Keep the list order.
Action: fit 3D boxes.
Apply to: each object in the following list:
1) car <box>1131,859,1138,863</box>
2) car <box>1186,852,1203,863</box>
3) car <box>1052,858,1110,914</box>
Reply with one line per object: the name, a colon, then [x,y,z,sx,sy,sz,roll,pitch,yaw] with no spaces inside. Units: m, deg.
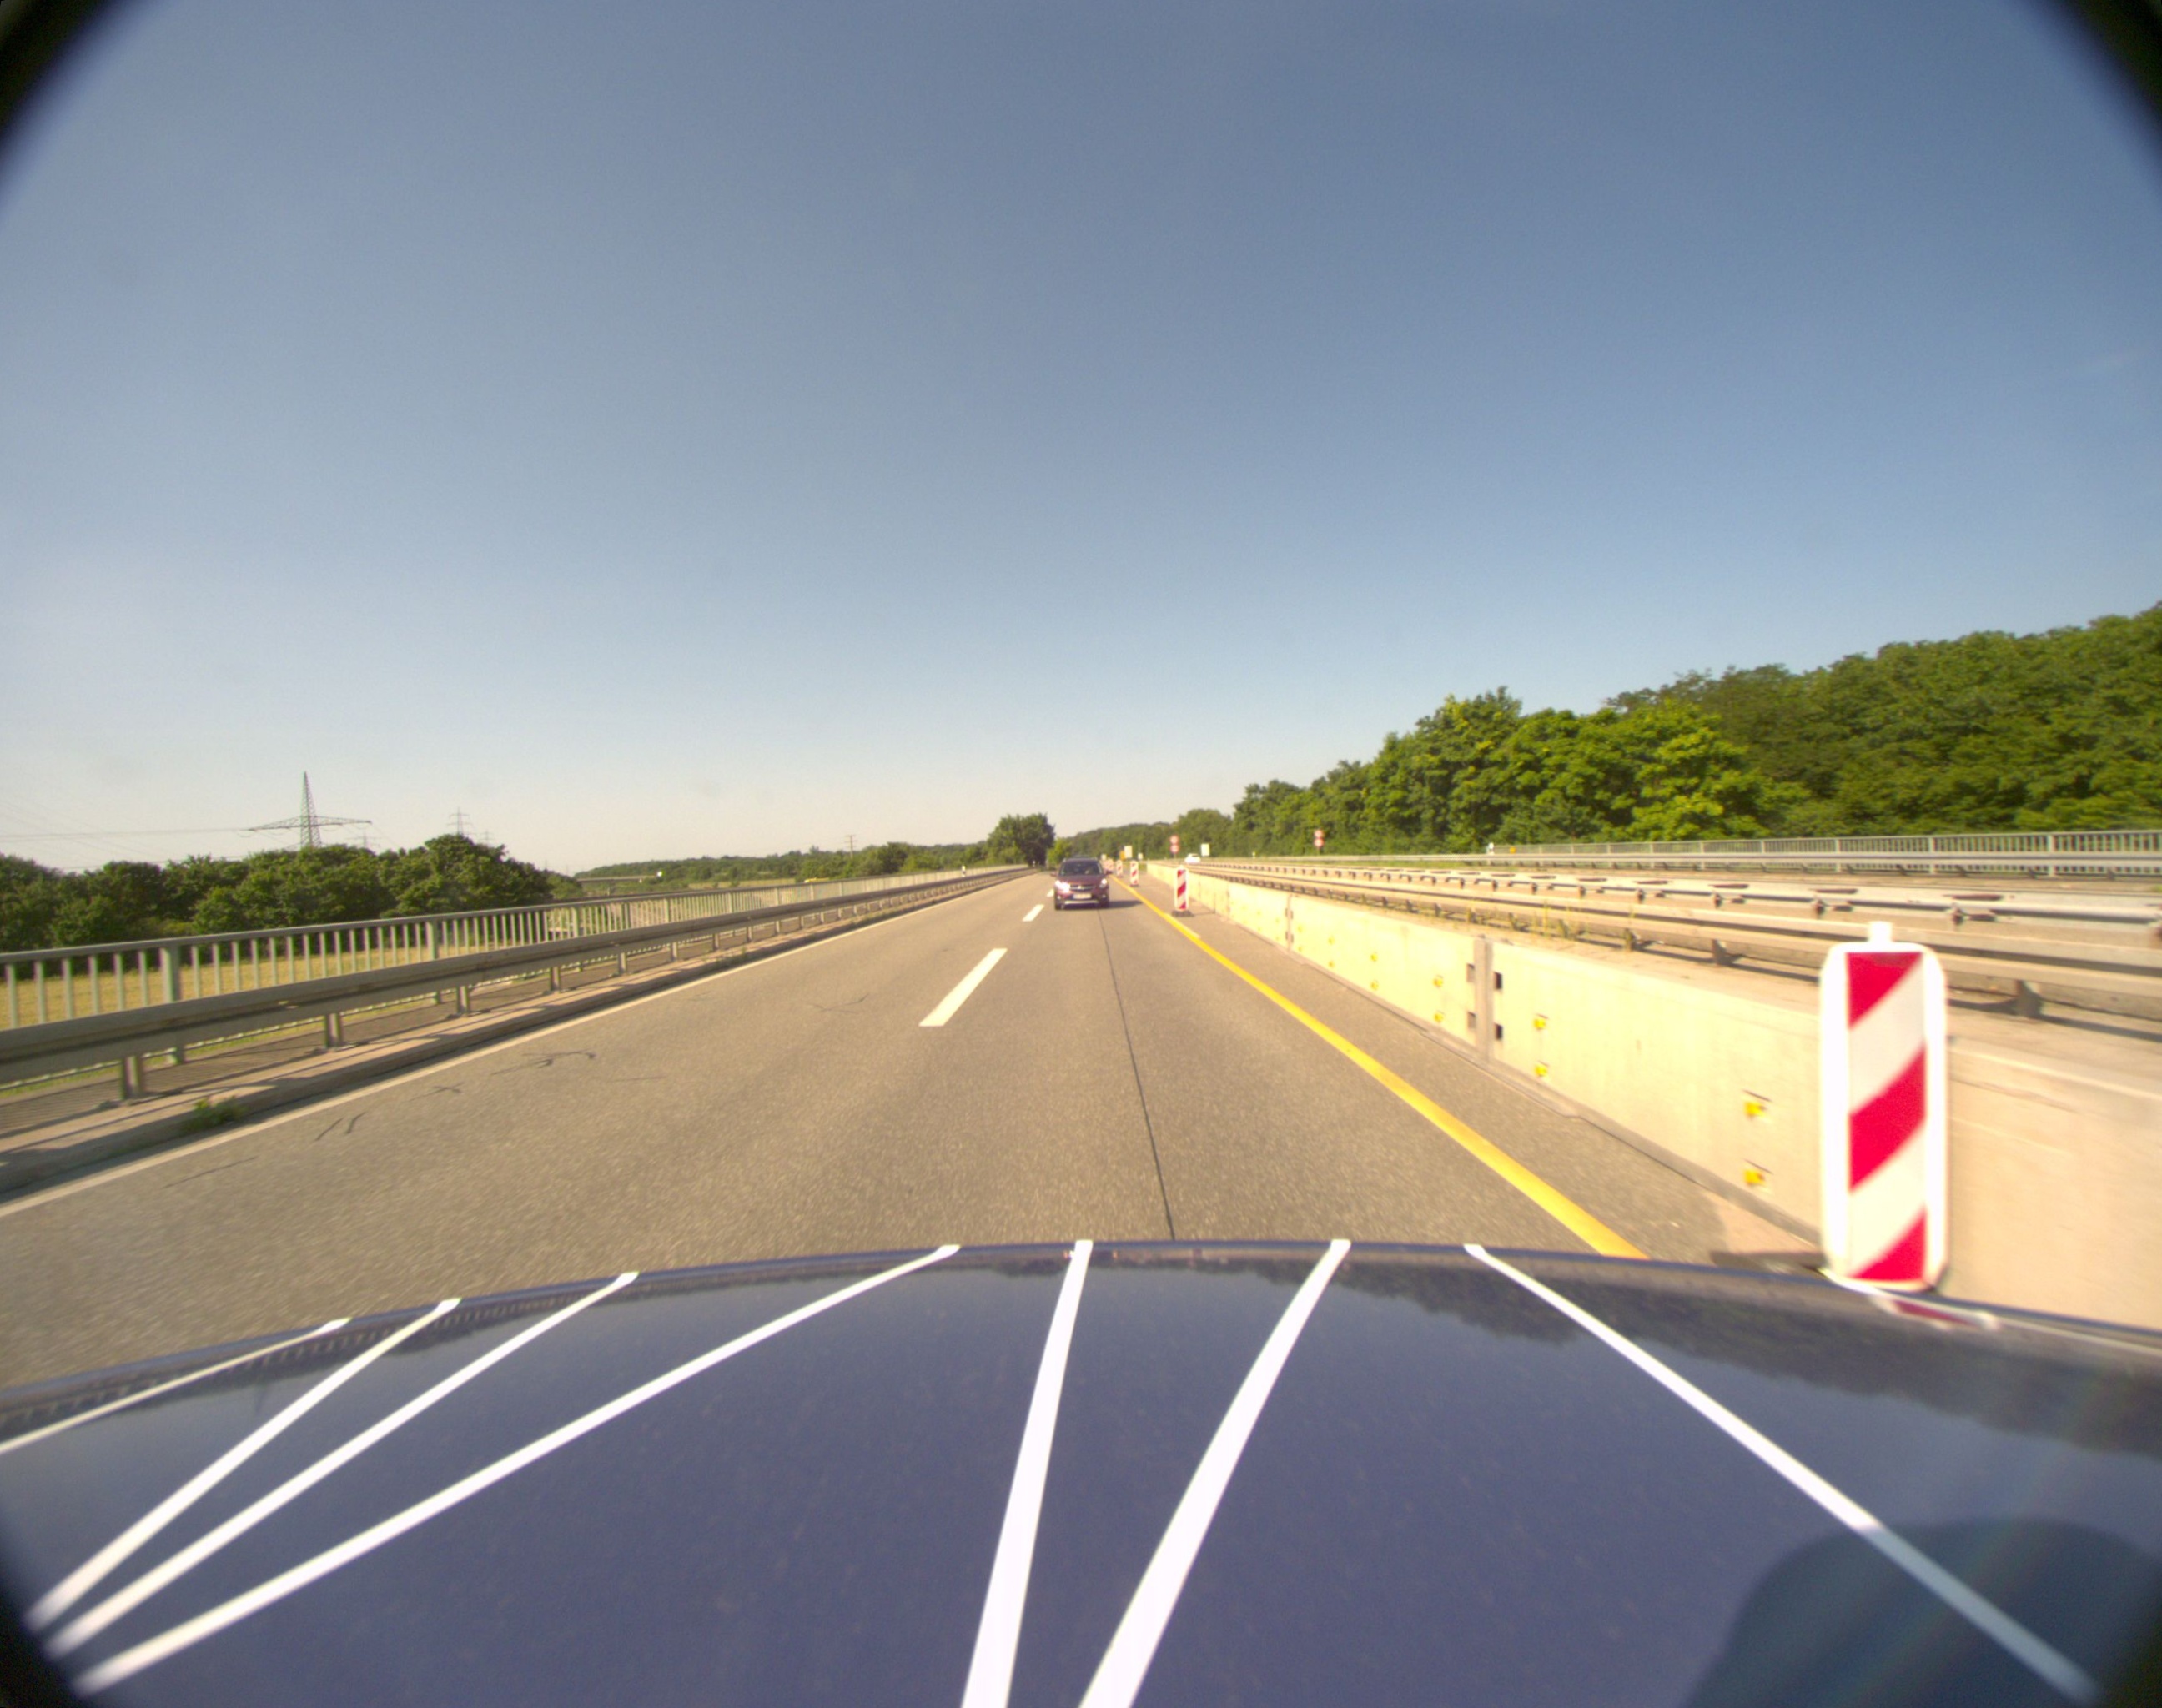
car: [13.791,1.782,195.965,1.595,1.140,3.768,-2,0,-1]
car: [15.832,0.434,106.049,1.744,1.331,4.551,-4,0,1]
car: [0.086,0.912,23.737,1.587,1.491,4.416,-2,0,2]
